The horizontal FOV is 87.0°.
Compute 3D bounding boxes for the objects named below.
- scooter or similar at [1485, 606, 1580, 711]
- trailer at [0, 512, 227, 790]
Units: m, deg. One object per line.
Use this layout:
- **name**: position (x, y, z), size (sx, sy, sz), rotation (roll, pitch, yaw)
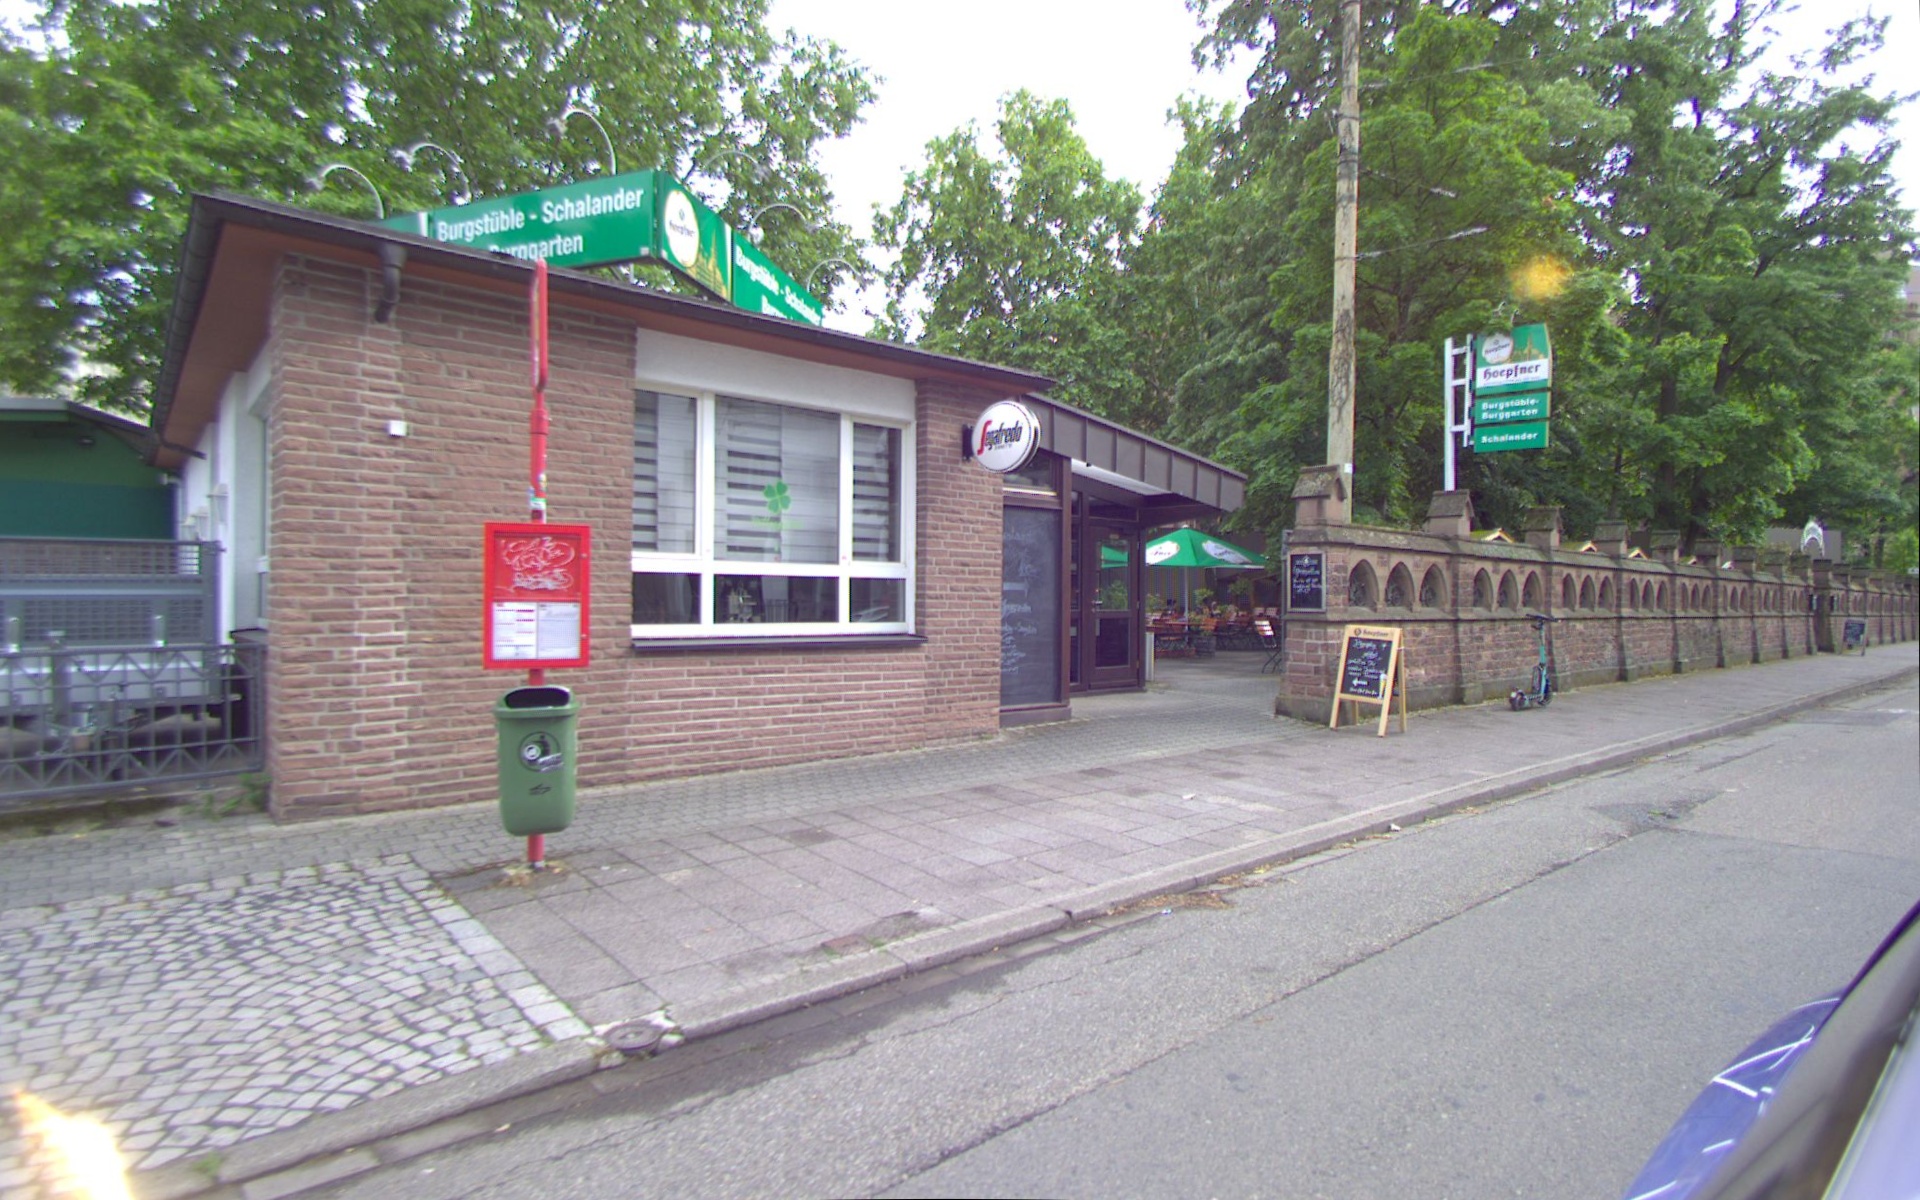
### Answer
- **scooter or similar**: position (7.466, 0.729, 13.183), size (1.385, 1.254, 0.578), rotation (0, 3, -40)
- **trailer**: position (-6.190, 0.272, 7.063), size (1.592, 1.558, 3.169), rotation (0, 0, -39)
